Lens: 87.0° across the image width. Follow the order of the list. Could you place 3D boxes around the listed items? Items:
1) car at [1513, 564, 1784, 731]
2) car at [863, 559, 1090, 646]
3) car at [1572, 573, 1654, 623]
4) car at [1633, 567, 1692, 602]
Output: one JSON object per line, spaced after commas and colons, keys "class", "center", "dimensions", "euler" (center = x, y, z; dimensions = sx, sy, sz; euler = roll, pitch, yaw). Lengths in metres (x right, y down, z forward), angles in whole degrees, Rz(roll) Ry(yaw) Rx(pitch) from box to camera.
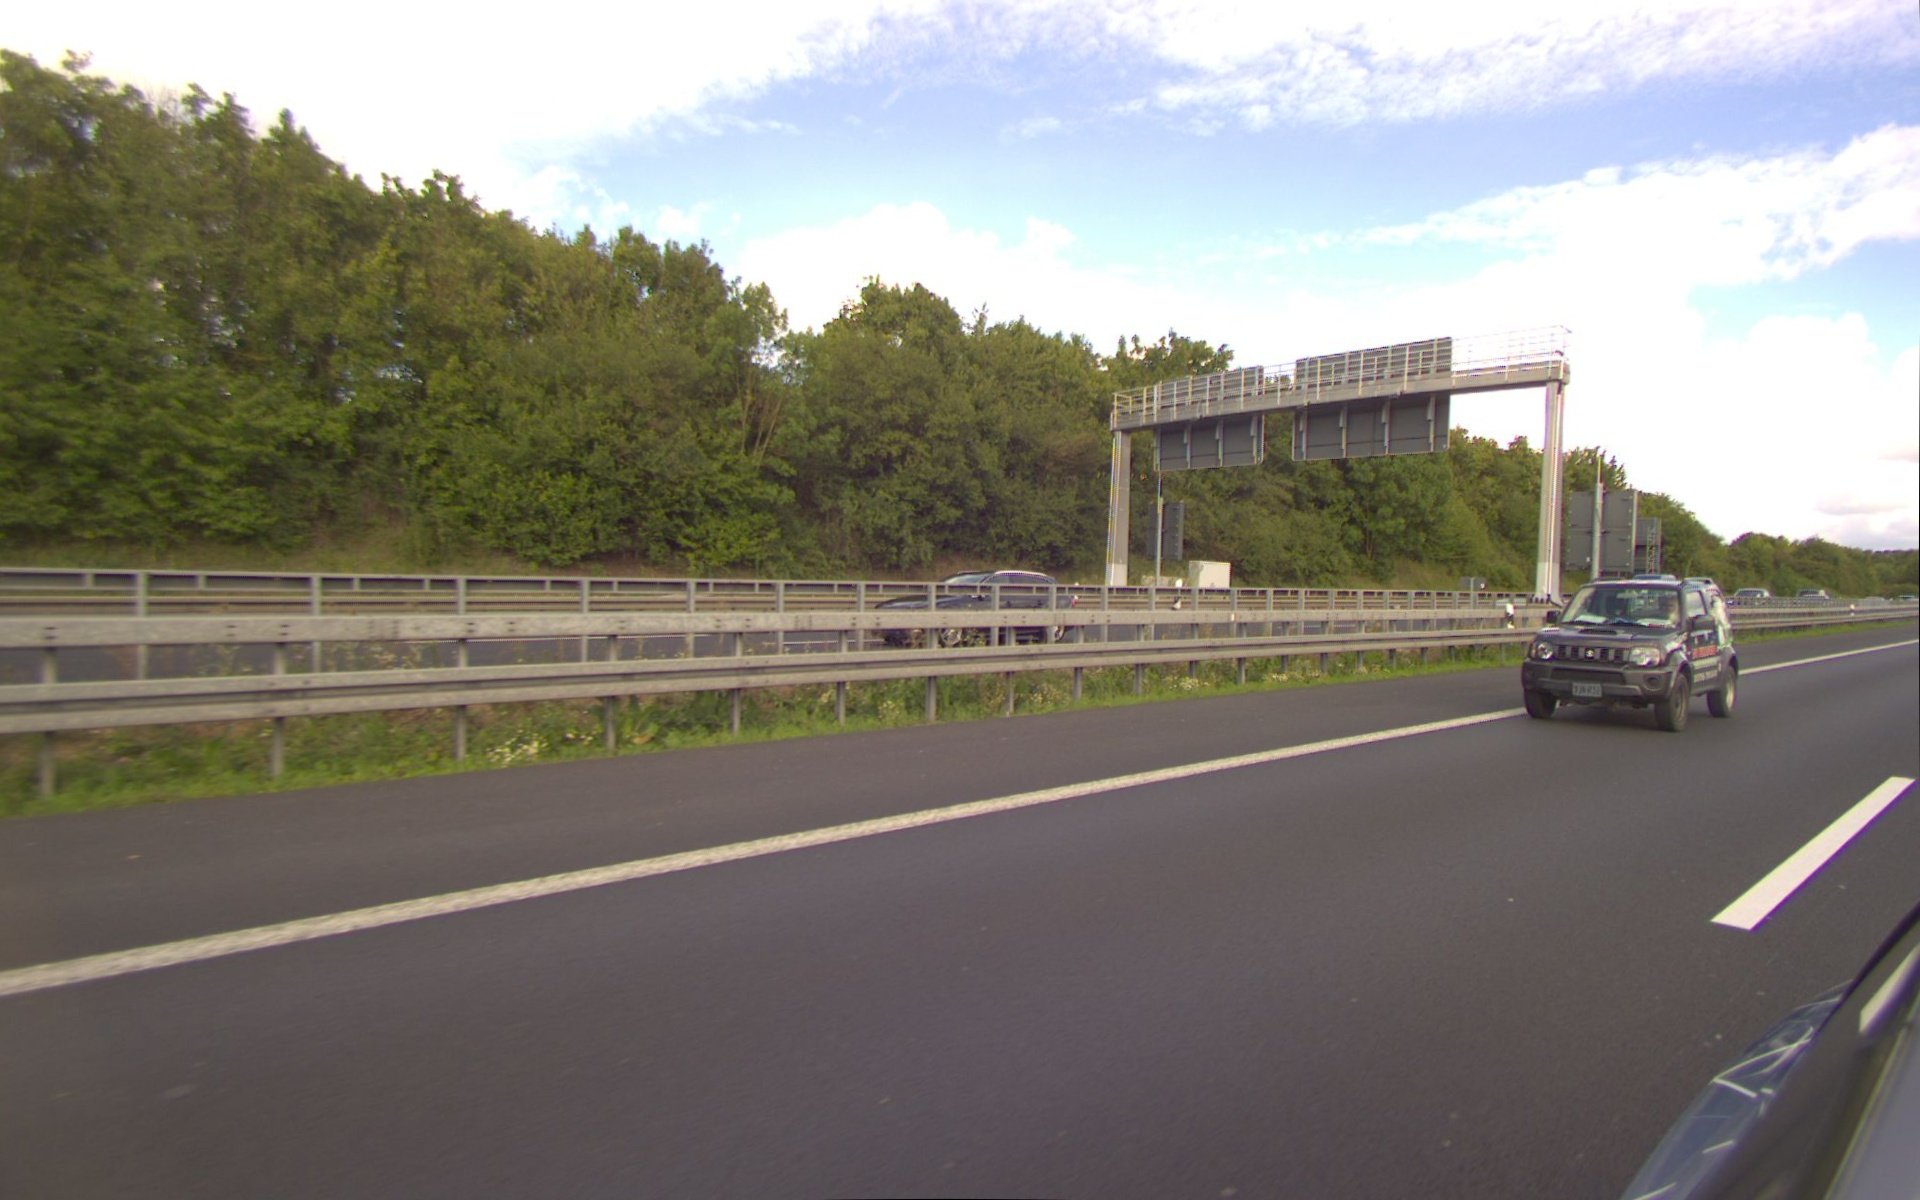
{"class": "car", "center": [8.717, 0.472, 12.689], "dimensions": [4.131, 1.754, 1.670], "euler": [0, 2, -39]}
{"class": "car", "center": [0.397, -0.002, 19.834], "dimensions": [4.236, 1.503, 1.997], "euler": [0, 2, -42]}
{"class": "car", "center": [29.209, -0.109, 45.234], "dimensions": [3.930, 2.038, 1.998], "euler": [0, 3, -40]}
{"class": "car", "center": [46.026, -1.002, 66.285], "dimensions": [5.040, 2.212, 1.997], "euler": [0, 2, -42]}
